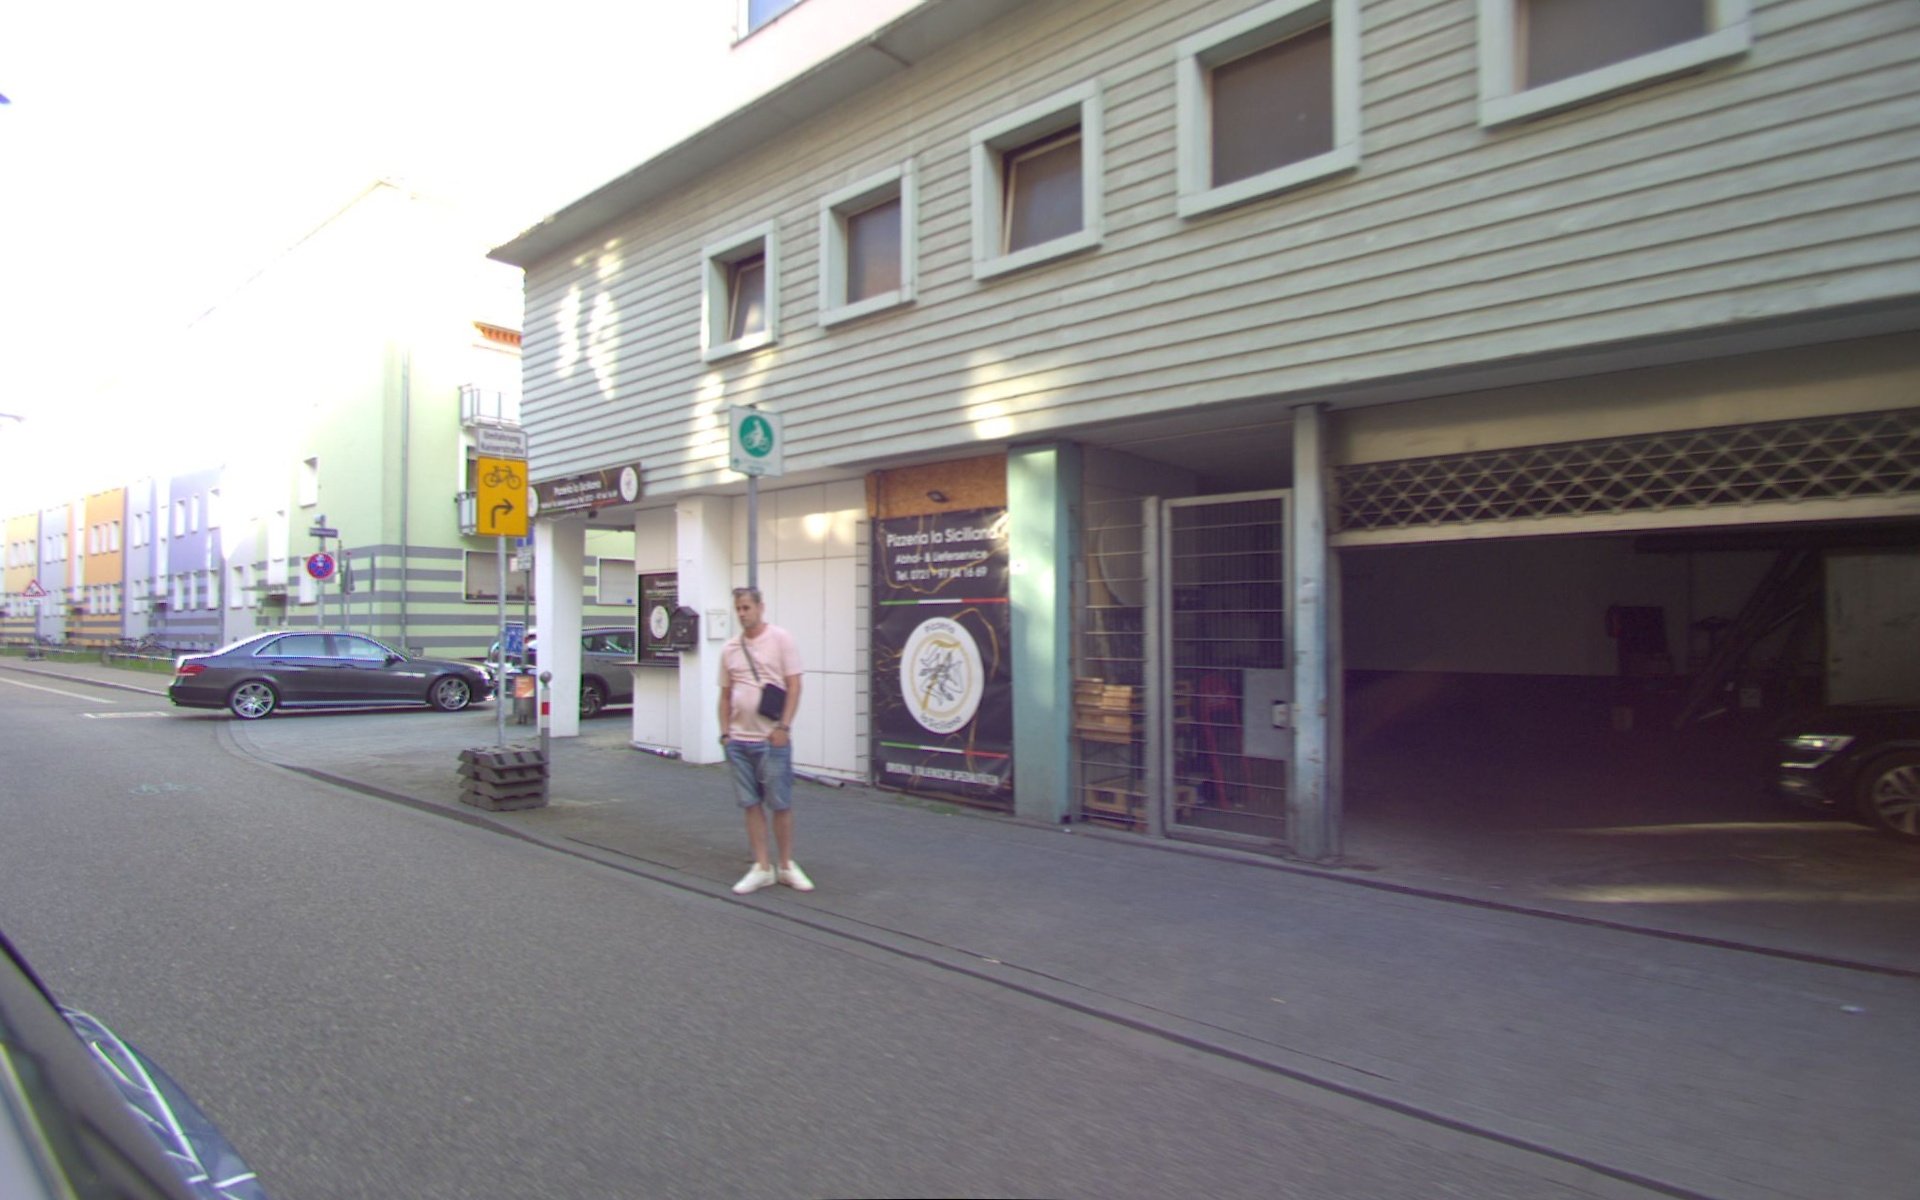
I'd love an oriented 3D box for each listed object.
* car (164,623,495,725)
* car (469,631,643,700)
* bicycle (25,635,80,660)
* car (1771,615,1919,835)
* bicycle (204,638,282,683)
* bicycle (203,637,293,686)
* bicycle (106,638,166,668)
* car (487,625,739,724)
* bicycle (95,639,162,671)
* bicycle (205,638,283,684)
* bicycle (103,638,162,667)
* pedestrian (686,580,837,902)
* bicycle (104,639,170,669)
[{"bbox_3d":[-10.610,1.197,17.403,4.590,1.490,1.792,2,0,-30],"label":"car"},{"bbox_3d":[-9.168,1.439,23.126,1.723,1.448,3.300,-2,-2,39],"label":"car"},{"bbox_3d":[-41.999,2.191,46.851,0.653,0.990,1.786,-2,2,37],"label":"bicycle"},{"bbox_3d":[8.433,0.857,6.772,4.600,1.547,1.743,-2,-2,42],"label":"car"},{"bbox_3d":[-20.048,1.671,28.339,0.387,1.109,1.720,-2,1,33],"label":"bicycle"},{"bbox_3d":[-18.881,1.611,26.872,0.749,1.109,1.798,-2,1,40],"label":"bicycle"},{"bbox_3d":[-30.580,1.962,37.576,0.388,0.953,1.637,-2,1,40],"label":"bicycle"},{"bbox_3d":[-5.963,1.211,17.751,1.691,1.531,3.892,-2,-2,39],"label":"car"},{"bbox_3d":[-29.465,1.941,35.878,0.388,0.953,1.780,-2,1,40],"label":"bicycle"},{"bbox_3d":[-19.793,1.666,28.014,0.387,1.109,1.720,-2,1,33],"label":"bicycle"},{"bbox_3d":[-30.914,1.964,37.809,0.388,0.953,1.637,-2,1,40],"label":"bicycle"},{"bbox_3d":[-1.105,0.740,5.657,0.625,1.682,0.489,-2,0,28],"label":"pedestrian"},{"bbox_3d":[-29.754,1.946,36.609,0.388,0.953,1.780,-2,1,40],"label":"bicycle"}]
